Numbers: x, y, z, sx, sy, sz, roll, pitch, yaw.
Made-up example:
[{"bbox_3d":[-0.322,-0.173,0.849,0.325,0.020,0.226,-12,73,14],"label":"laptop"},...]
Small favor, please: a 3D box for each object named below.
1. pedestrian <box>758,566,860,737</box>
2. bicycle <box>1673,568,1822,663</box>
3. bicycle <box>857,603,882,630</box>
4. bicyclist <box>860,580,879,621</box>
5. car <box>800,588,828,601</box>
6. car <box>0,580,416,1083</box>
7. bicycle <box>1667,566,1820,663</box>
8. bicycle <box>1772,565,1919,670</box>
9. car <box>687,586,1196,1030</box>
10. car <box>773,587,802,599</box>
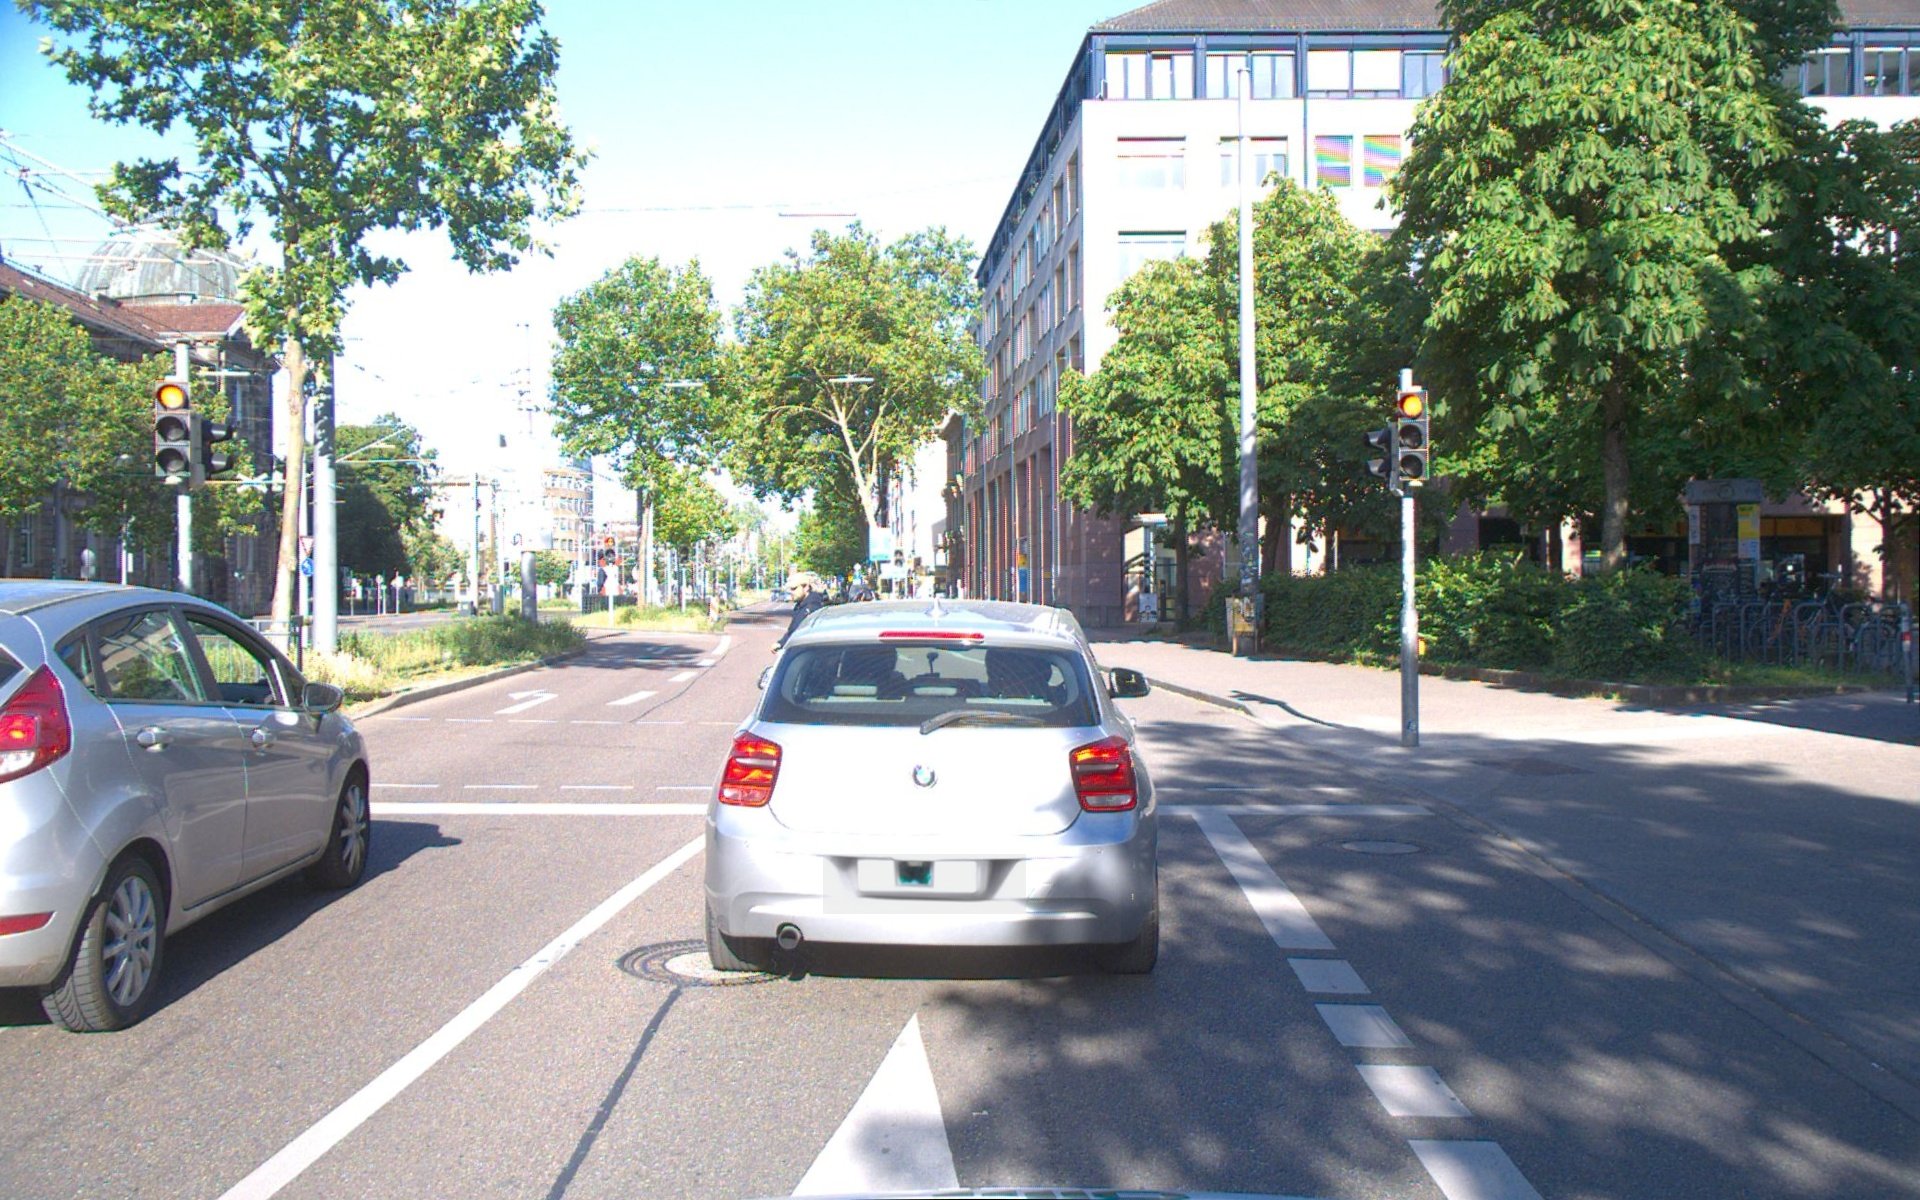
[{"bbox_3d":[-1.509,0.499,16.486,0.925,1.657,0.626,0,0,-14],"label":"pedestrian"},{"bbox_3d":[11.877,0.227,24.977,1.956,1.337,0.574,-2,0,-2],"label":"bicycle"},{"bbox_3d":[-3.764,0.677,69.028,0.814,1.059,1.875,-1,0,4],"label":"bicycle"},{"bbox_3d":[-3.780,0.014,69.113,0.644,1.686,0.765,-1,0,4],"label":"bicyclist"},{"bbox_3d":[-17.818,-0.708,201.969,1.972,1.512,3.962,-1,0,-29],"label":"car"},{"bbox_3d":[-3.473,0.652,6.489,1.627,1.434,3.630,1,0,-3],"label":"car"},{"bbox_3d":[11.521,0.209,24.348,1.956,1.337,0.574,-2,0,-2],"label":"bicycle"},{"bbox_3d":[12.149,0.234,22.441,1.956,1.337,0.574,-2,0,-2],"label":"bicycle"},{"bbox_3d":[0.014,0.682,7.489,1.694,1.414,3.841,1,1,2],"label":"car"},{"bbox_3d":[-22.863,-0.945,218.702,1.982,1.512,3.942,-1,0,-40],"label":"car"}]
